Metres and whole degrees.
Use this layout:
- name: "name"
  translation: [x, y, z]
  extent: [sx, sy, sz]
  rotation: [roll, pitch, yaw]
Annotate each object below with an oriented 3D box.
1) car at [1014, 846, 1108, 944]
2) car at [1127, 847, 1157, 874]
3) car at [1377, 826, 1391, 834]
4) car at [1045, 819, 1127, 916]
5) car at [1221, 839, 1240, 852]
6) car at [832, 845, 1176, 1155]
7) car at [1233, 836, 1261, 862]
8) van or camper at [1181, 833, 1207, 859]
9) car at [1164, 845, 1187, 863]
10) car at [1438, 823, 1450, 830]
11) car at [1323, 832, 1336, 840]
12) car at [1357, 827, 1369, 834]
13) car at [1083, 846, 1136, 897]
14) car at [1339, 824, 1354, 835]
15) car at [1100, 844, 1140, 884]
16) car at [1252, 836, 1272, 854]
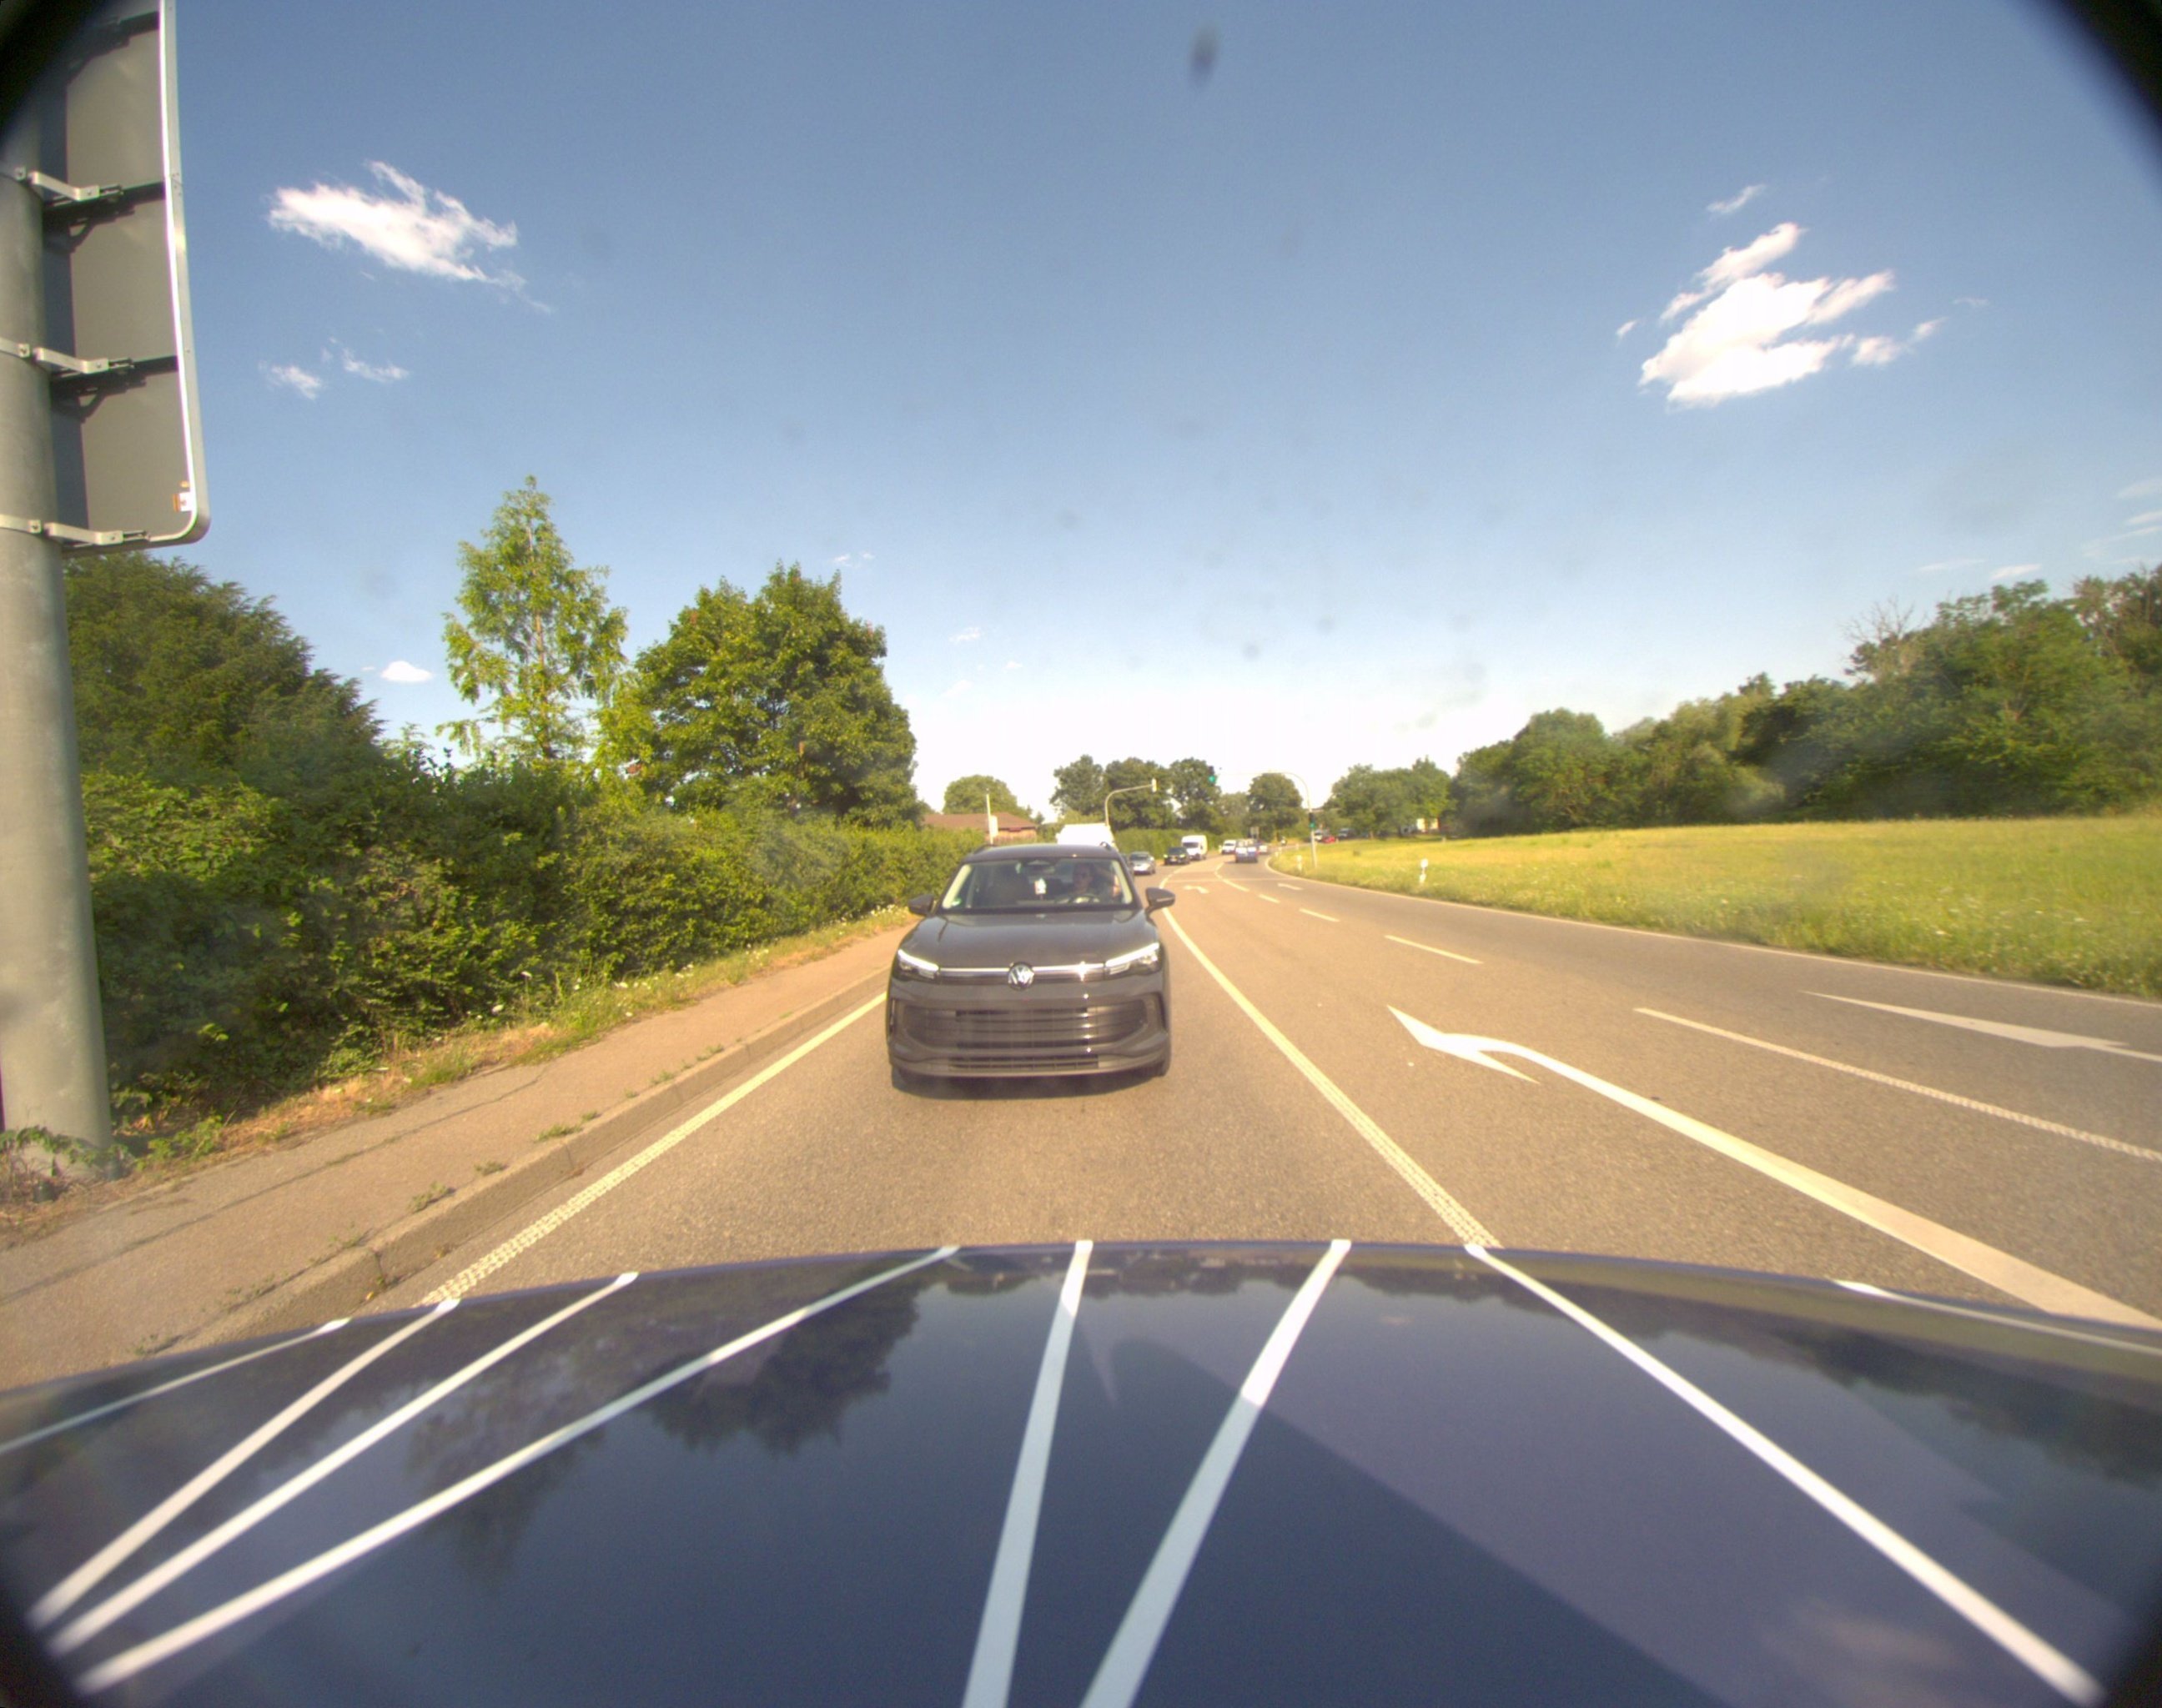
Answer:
- name: "car"
  translation: [-0.294, 0.717, 15.518]
  extent: [1.659, 1.720, 3.804]
  rotation: [-1, 1, 2]
- name: "car"
  translation: [3.841, 0.387, 47.513]
  extent: [1.633, 1.549, 3.419]
  rotation: [-1, 1, 9]
- name: "car"
  translation: [71.926, -5.693, 180.152]
  extent: [1.725, 1.871, 4.344]
  rotation: [-1, 1, 41]
- name: "car"
  translation: [0.264, 0.310, 20.966]
  extent: [1.843, 2.338, 4.790]
  rotation: [-1, 1, 5]
- name: "car"
  translation: [19.794, -1.169, 100.383]
  extent: [1.671, 1.471, 3.499]
  rotation: [-4, 0, 24]
- name: "car"
  translation: [-0.366, 0.794, 6.195]
  extent: [1.865, 1.633, 4.000]
  rotation: [-1, 2, 2]
- name: "car"
  translation: [14.969, -0.474, 68.266]
  extent: [2.001, 2.124, 4.784]
  rotation: [-2, 0, 16]
- name: "van or camper"
  translation: [11.721, -0.843, 78.580]
  extent: [2.032, 2.461, 5.082]
  rotation: [-4, 0, 15]
- name: "car"
  translation: [8.334, -0.019, 66.836]
  extent: [1.605, 1.471, 3.619]
  rotation: [0, 1, 13]
- name: "car"
  translation: [98.226, -7.426, 205.549]
  extent: [3.625, 1.685, 1.635]
  rotation: [-3, 2, -44]
- name: "car"
  translation: [49.223, -3.552, 150.495]
  extent: [1.586, 1.458, 3.614]
  rotation: [-1, 0, 34]
- name: "car"
  translation: [68.630, -5.683, 184.948]
  extent: [1.654, 1.595, 3.876]
  rotation: [-4, 1, 36]
- name: "car"
  translation: [1.117, 0.587, 28.247]
  extent: [1.693, 1.718, 3.669]
  rotation: [-1, 1, 6]
- name: "car"
  translation: [61.074, -5.604, 174.672]
  extent: [1.995, 2.373, 4.944]
  rotation: [-4, 1, 34]
- name: "car"
  translation: [1.859, 0.426, 35.406]
  extent: [1.673, 1.718, 3.668]
  rotation: [0, 2, 6]
- name: "car"
  translation: [22.490, -1.177, 94.263]
  extent: [1.783, 2.002, 3.850]
  rotation: [-4, 1, 22]
